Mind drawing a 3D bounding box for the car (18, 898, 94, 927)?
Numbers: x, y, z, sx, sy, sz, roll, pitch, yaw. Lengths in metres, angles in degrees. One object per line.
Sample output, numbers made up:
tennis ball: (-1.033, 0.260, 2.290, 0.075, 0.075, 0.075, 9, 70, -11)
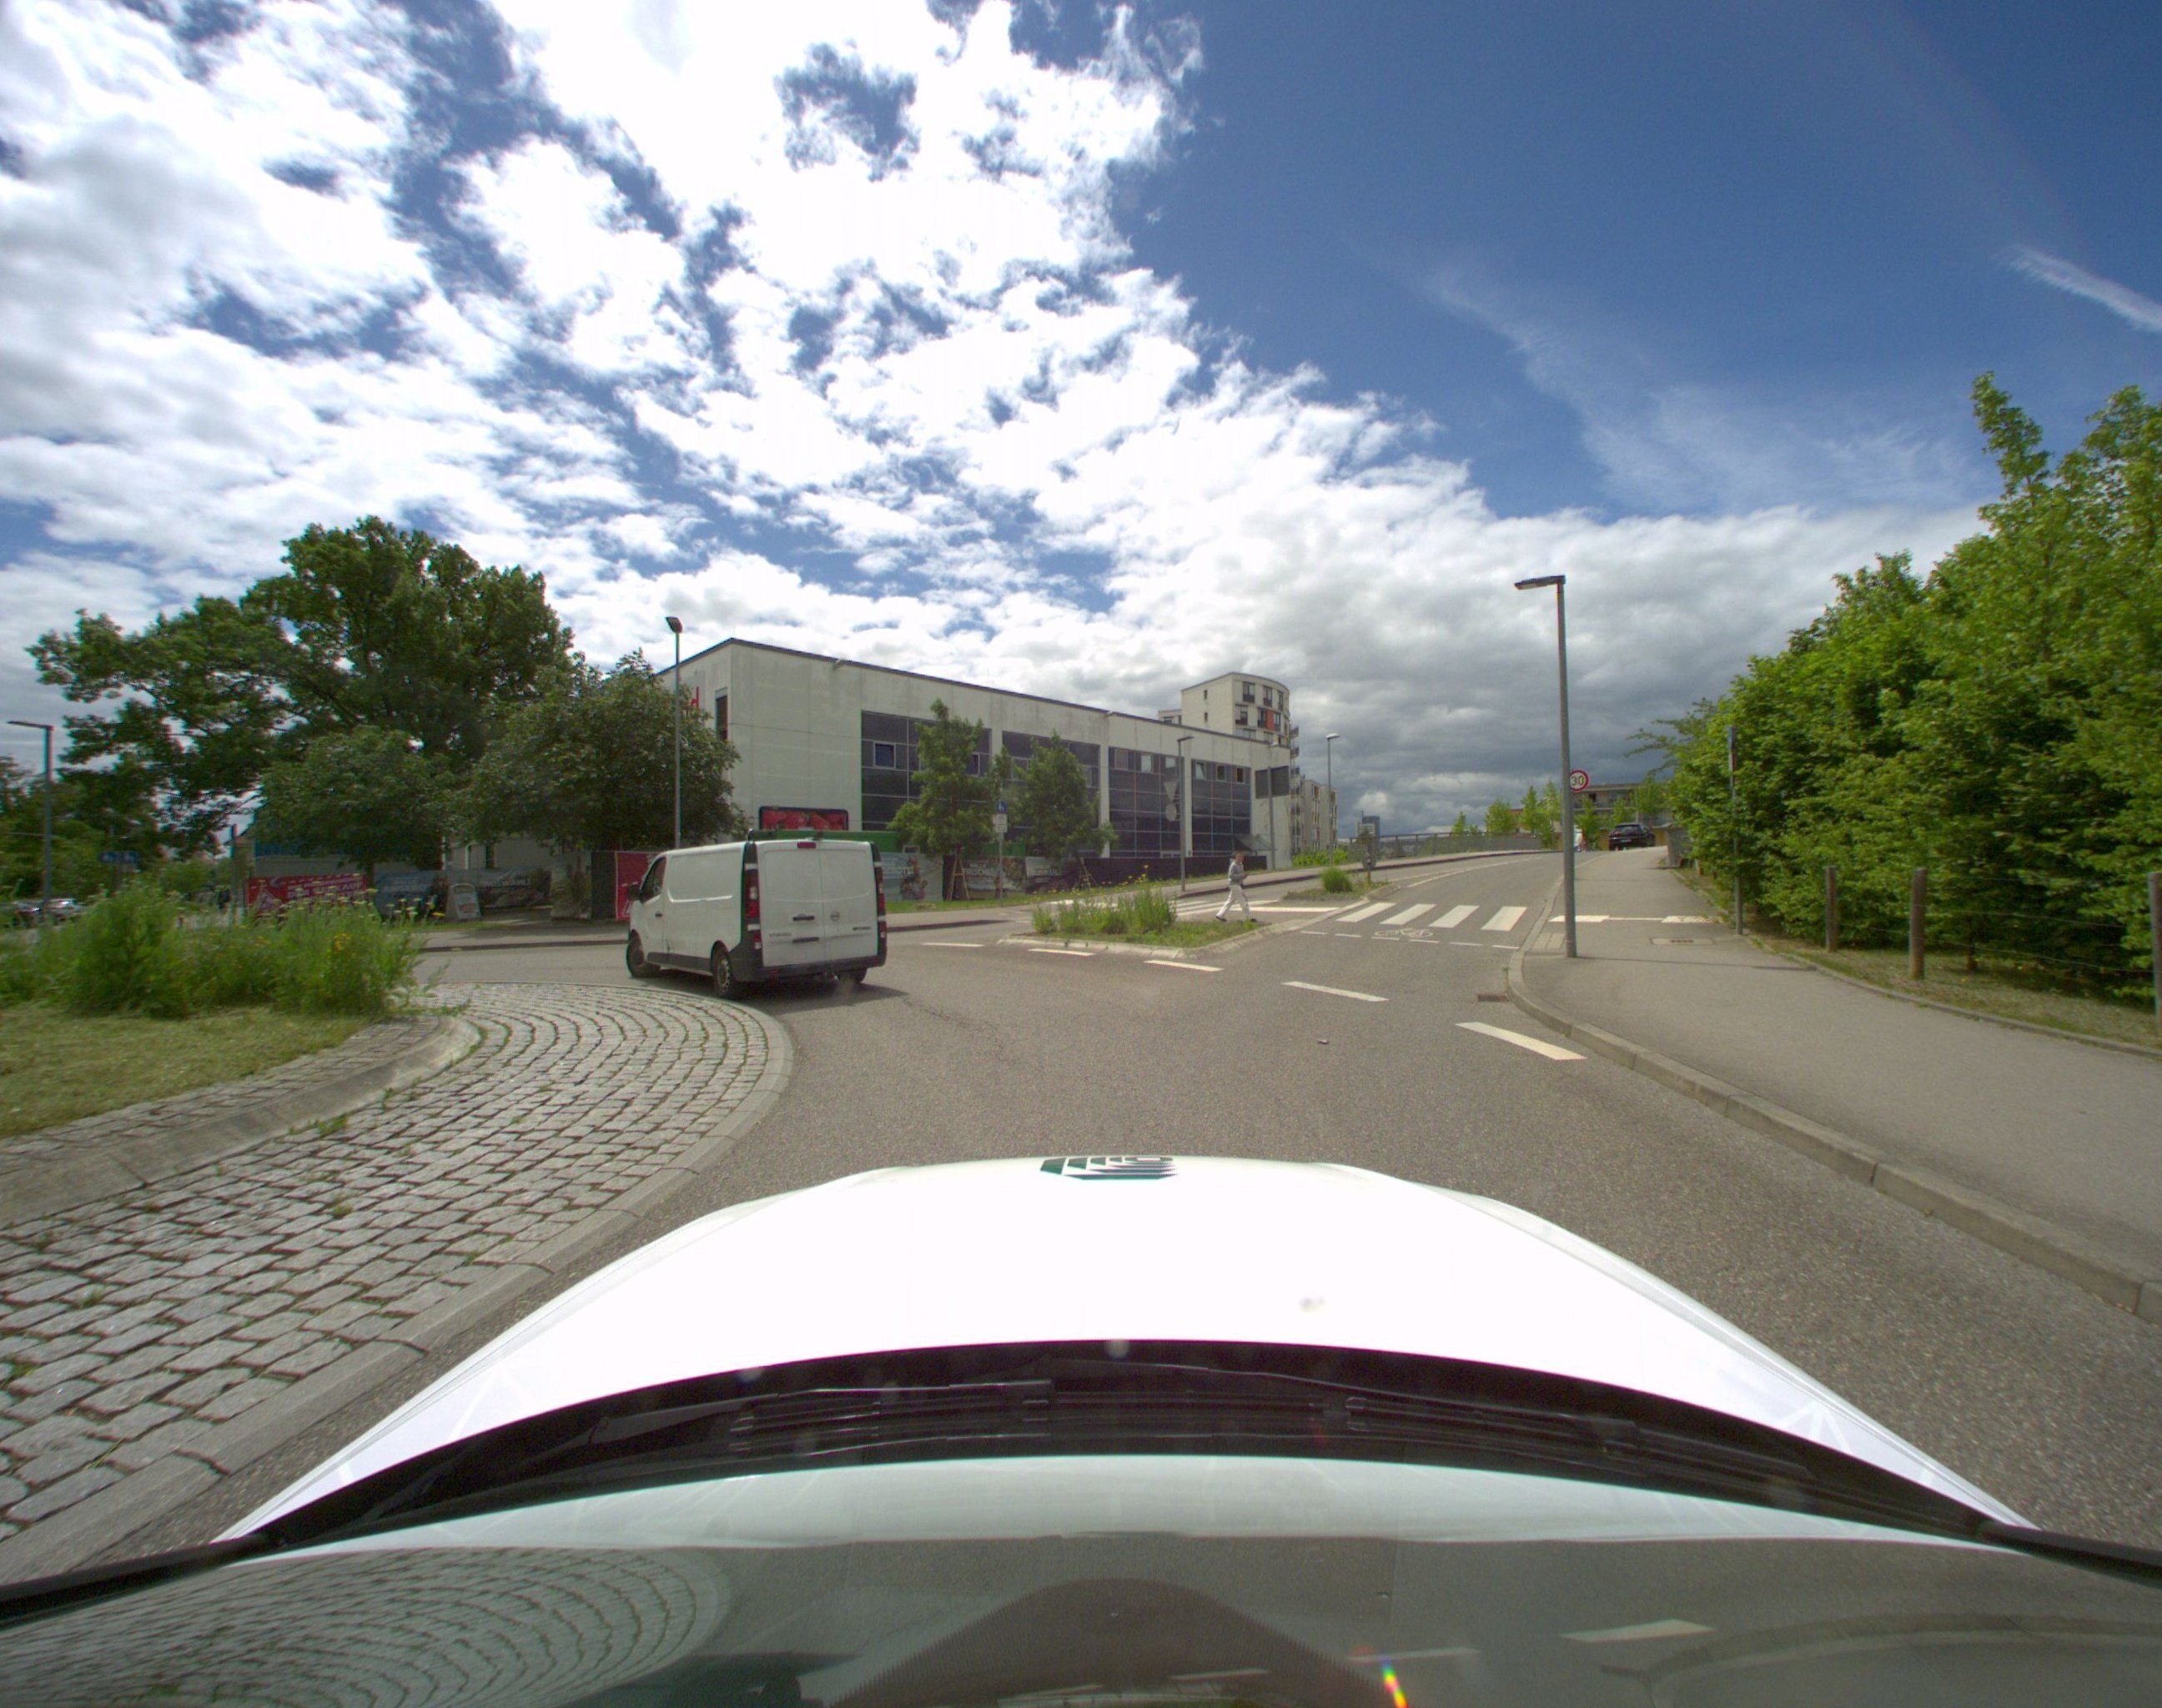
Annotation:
car: (-61.934, 3.481, 49.286, 2.080, 1.500, 3.879, 0, -1, -40)

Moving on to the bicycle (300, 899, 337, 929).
bicycle: (-28.772, 2.250, 30.764, 0.634, 1.049, 2.050, 2, -2, -33)

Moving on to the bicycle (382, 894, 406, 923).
bicycle: (-27.410, 2.157, 32.474, 0.534, 1.094, 2.045, 3, -3, -45)

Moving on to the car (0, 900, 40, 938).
car: (-54.879, 3.300, 41.418, 1.914, 1.744, 3.876, 0, -1, -45)

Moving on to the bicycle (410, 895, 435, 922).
bicycle: (-26.895, 2.209, 33.242, 1.944, 1.049, 0.545, -1, -3, 44)

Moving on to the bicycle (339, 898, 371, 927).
bicycle: (-28.085, 2.257, 31.495, 2.045, 1.049, 0.635, -1, -3, 41)

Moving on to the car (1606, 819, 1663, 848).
car: (32.459, -1.183, 47.742, 4.021, 1.453, 1.889, 2, -3, -43)

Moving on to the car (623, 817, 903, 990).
car: (-4.746, 0.627, 11.669, 2.052, 1.946, 4.932, 2, -3, -43)

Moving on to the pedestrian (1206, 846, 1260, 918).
pedestrian: (3.352, 0.622, 18.014, 1.030, 1.541, 0.895, 0, -2, 0)

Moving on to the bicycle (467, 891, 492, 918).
bicycle: (-25.242, 2.097, 34.188, 0.635, 1.064, 1.945, 2, -3, -42)

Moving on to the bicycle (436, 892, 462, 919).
bicycle: (-26.184, 2.124, 33.720, 0.635, 1.049, 1.945, 2, -3, -44)
